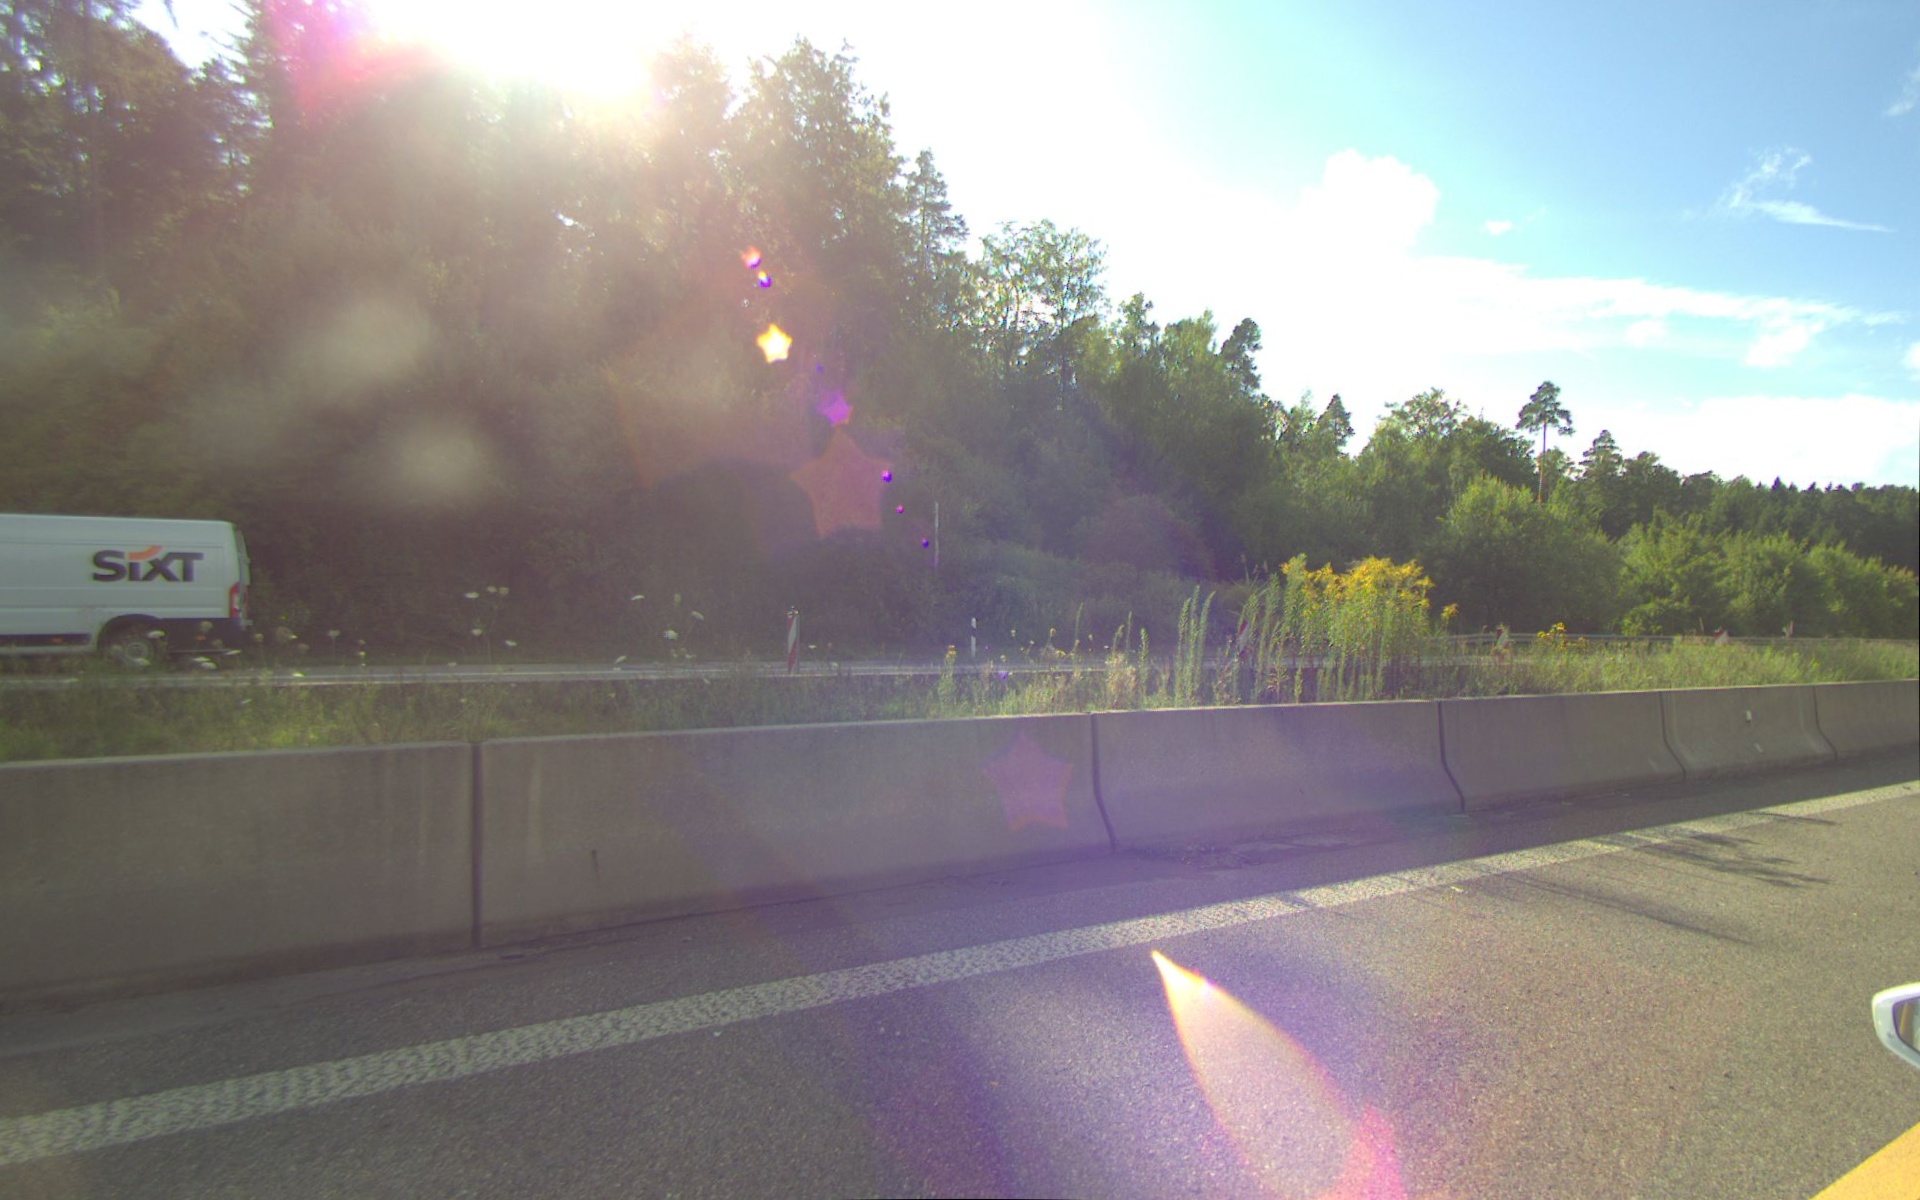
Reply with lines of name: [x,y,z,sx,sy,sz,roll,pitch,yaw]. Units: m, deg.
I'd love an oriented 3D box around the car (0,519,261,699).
car: [-15.169,0.121,15.940,6.446,2.720,2.018,2,0,-30]
